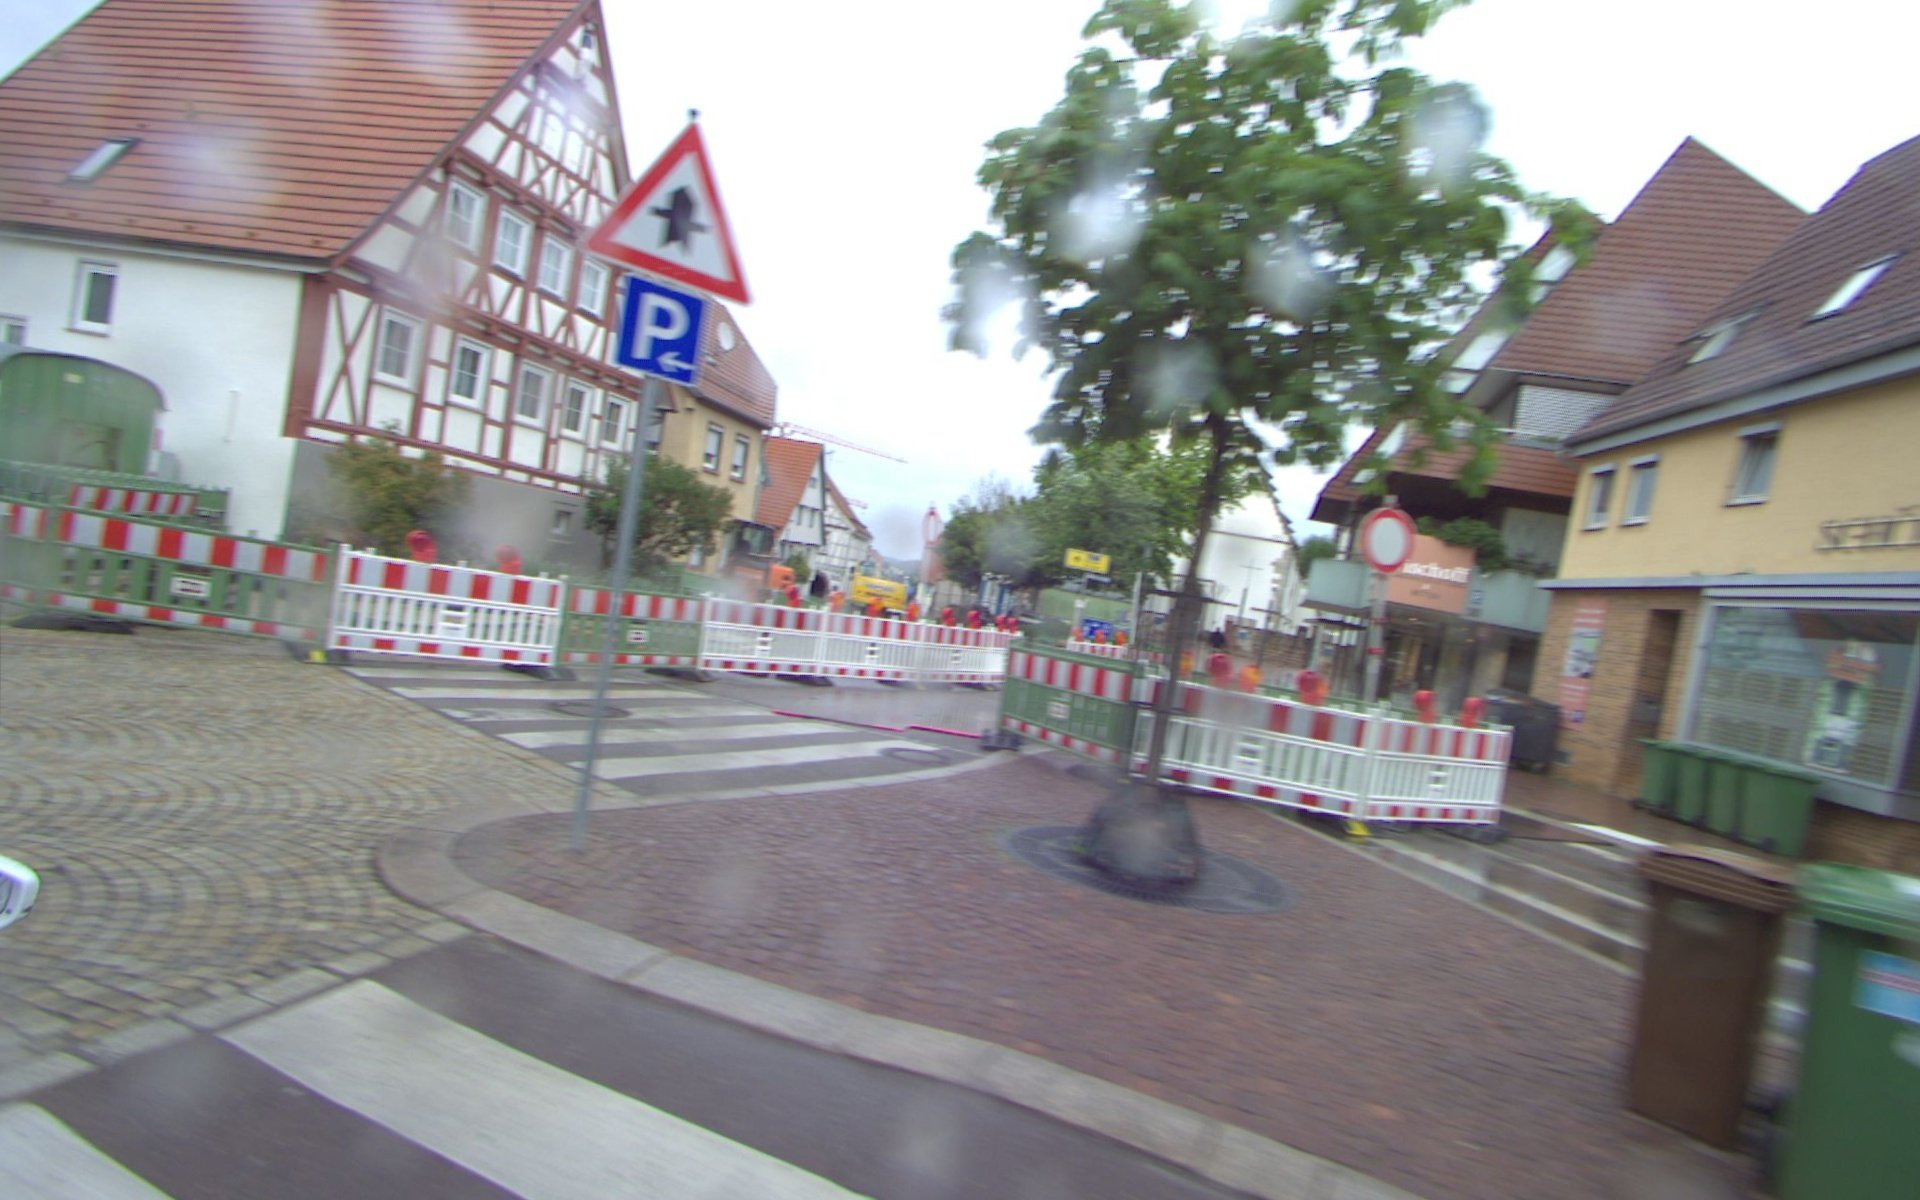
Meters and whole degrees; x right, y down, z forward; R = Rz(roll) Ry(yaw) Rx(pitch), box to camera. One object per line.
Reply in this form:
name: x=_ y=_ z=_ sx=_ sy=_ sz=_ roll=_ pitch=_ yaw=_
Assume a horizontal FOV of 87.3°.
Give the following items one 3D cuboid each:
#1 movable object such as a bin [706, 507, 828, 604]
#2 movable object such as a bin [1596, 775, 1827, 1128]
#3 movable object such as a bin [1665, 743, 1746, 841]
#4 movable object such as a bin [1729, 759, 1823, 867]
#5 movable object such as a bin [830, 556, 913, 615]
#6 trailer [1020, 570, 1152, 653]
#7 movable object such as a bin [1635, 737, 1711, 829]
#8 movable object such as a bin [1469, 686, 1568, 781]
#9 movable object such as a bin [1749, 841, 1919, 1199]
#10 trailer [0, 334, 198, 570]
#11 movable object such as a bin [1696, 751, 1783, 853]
movable object such as a bin: x=-5.045 y=-1.092 z=26.892 sx=1.875 sy=2.037 sz=4.003 roll=9 pitch=-1 yaw=6
movable object such as a bin: x=2.673 y=1.186 z=3.585 sx=0.504 sy=1.016 sz=0.566 roll=8 pitch=0 yaw=40
movable object such as a bin: x=10.050 y=2.581 z=13.580 sx=0.508 sy=1.149 sz=0.579 roll=7 pitch=3 yaw=1
movable object such as a bin: x=10.013 y=2.607 z=12.363 sx=0.509 sy=1.146 sz=0.579 roll=7 pitch=2 yaw=1
movable object such as a bin: x=-4.108 y=-0.637 z=47.563 sx=3.354 sy=2.036 sz=3.478 roll=11 pitch=0 yaw=-1
trailer: x=6.178 y=0.562 z=49.576 sx=5.706 sy=2.981 sz=1.997 roll=11 pitch=0 yaw=-8
movable object such as a bin: x=10.068 y=2.574 z=14.216 sx=0.508 sy=1.143 sz=0.579 roll=7 pitch=2 yaw=1
movable object such as a bin: x=10.564 y=2.503 z=19.093 sx=1.048 sy=1.531 sz=1.242 roll=7 pitch=1 yaw=5
movable object such as a bin: x=2.693 y=1.294 z=2.844 sx=0.533 sy=1.049 sz=0.571 roll=8 pitch=-1 yaw=31
trailer: x=-14.445 y=-2.373 z=14.832 sx=4.546 sy=2.869 sz=2.495 roll=11 pitch=0 yaw=14
movable object such as a bin: x=10.034 y=2.588 z=12.971 sx=0.508 sy=1.144 sz=0.579 roll=7 pitch=2 yaw=1
